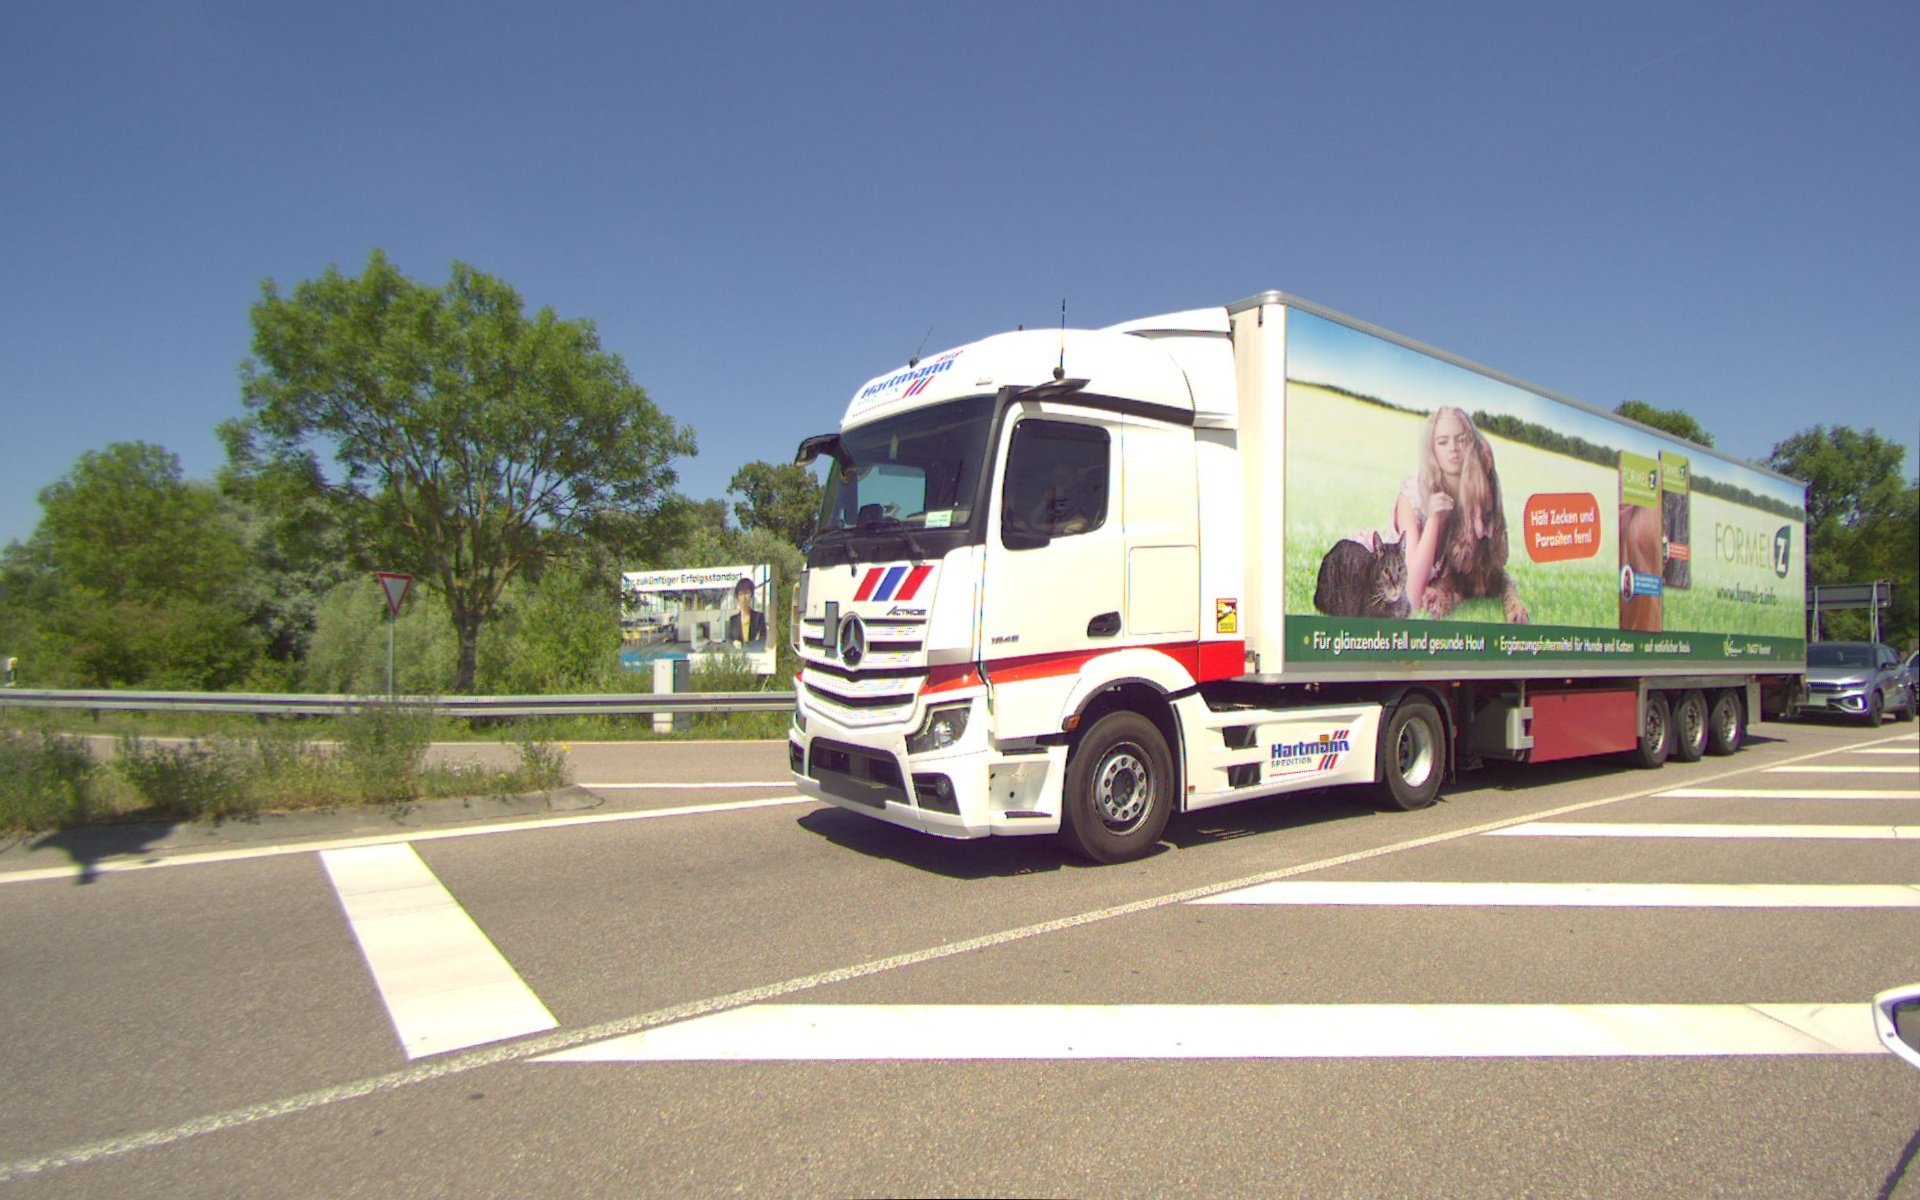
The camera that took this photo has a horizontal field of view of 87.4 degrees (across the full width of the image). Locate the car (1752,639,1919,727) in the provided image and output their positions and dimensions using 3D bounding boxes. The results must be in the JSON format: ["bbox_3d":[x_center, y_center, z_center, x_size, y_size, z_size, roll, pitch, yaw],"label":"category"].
[{"bbox_3d":[17.525,1.580,20.037,4.115,1.582,1.700,2,-3,-37],"label":"car"}]

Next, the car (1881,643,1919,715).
[{"bbox_3d":[22.676,1.740,22.815,4.339,1.558,1.614,1,-3,-34],"label":"car"}]

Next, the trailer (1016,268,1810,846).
[{"bbox_3d":[6.874,-0.086,12.447,13.996,4.098,2.670,2,-2,-37],"label":"trailer"}]

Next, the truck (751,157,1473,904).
[{"bbox_3d":[1.523,-0.288,8.328,5.772,4.098,2.670,2,-2,-37],"label":"truck"}]
